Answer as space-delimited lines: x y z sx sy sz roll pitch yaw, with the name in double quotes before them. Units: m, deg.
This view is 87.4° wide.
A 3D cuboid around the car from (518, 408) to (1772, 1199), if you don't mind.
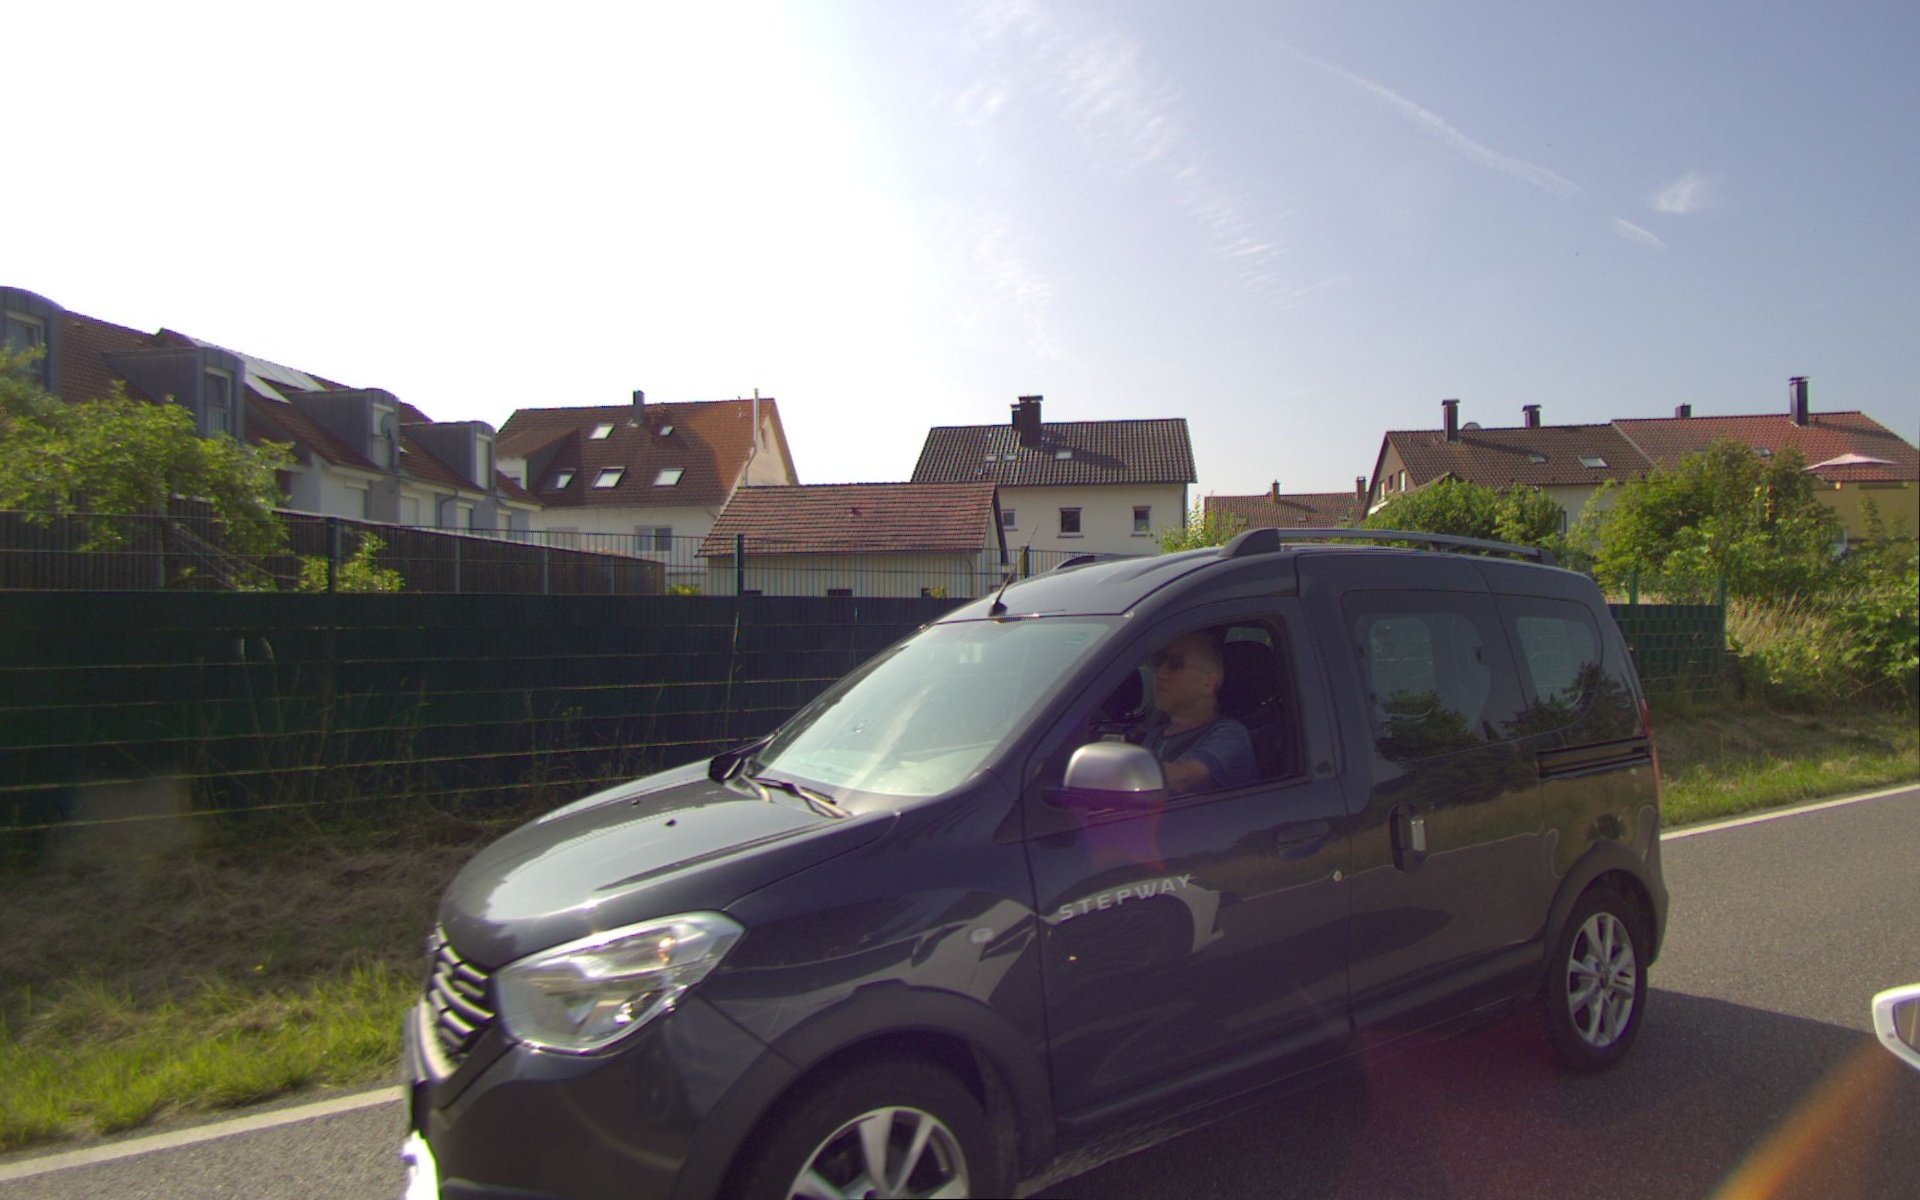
"car" 0.793 0.664 3.616 4.192 1.841 1.930 1 -3 -31
